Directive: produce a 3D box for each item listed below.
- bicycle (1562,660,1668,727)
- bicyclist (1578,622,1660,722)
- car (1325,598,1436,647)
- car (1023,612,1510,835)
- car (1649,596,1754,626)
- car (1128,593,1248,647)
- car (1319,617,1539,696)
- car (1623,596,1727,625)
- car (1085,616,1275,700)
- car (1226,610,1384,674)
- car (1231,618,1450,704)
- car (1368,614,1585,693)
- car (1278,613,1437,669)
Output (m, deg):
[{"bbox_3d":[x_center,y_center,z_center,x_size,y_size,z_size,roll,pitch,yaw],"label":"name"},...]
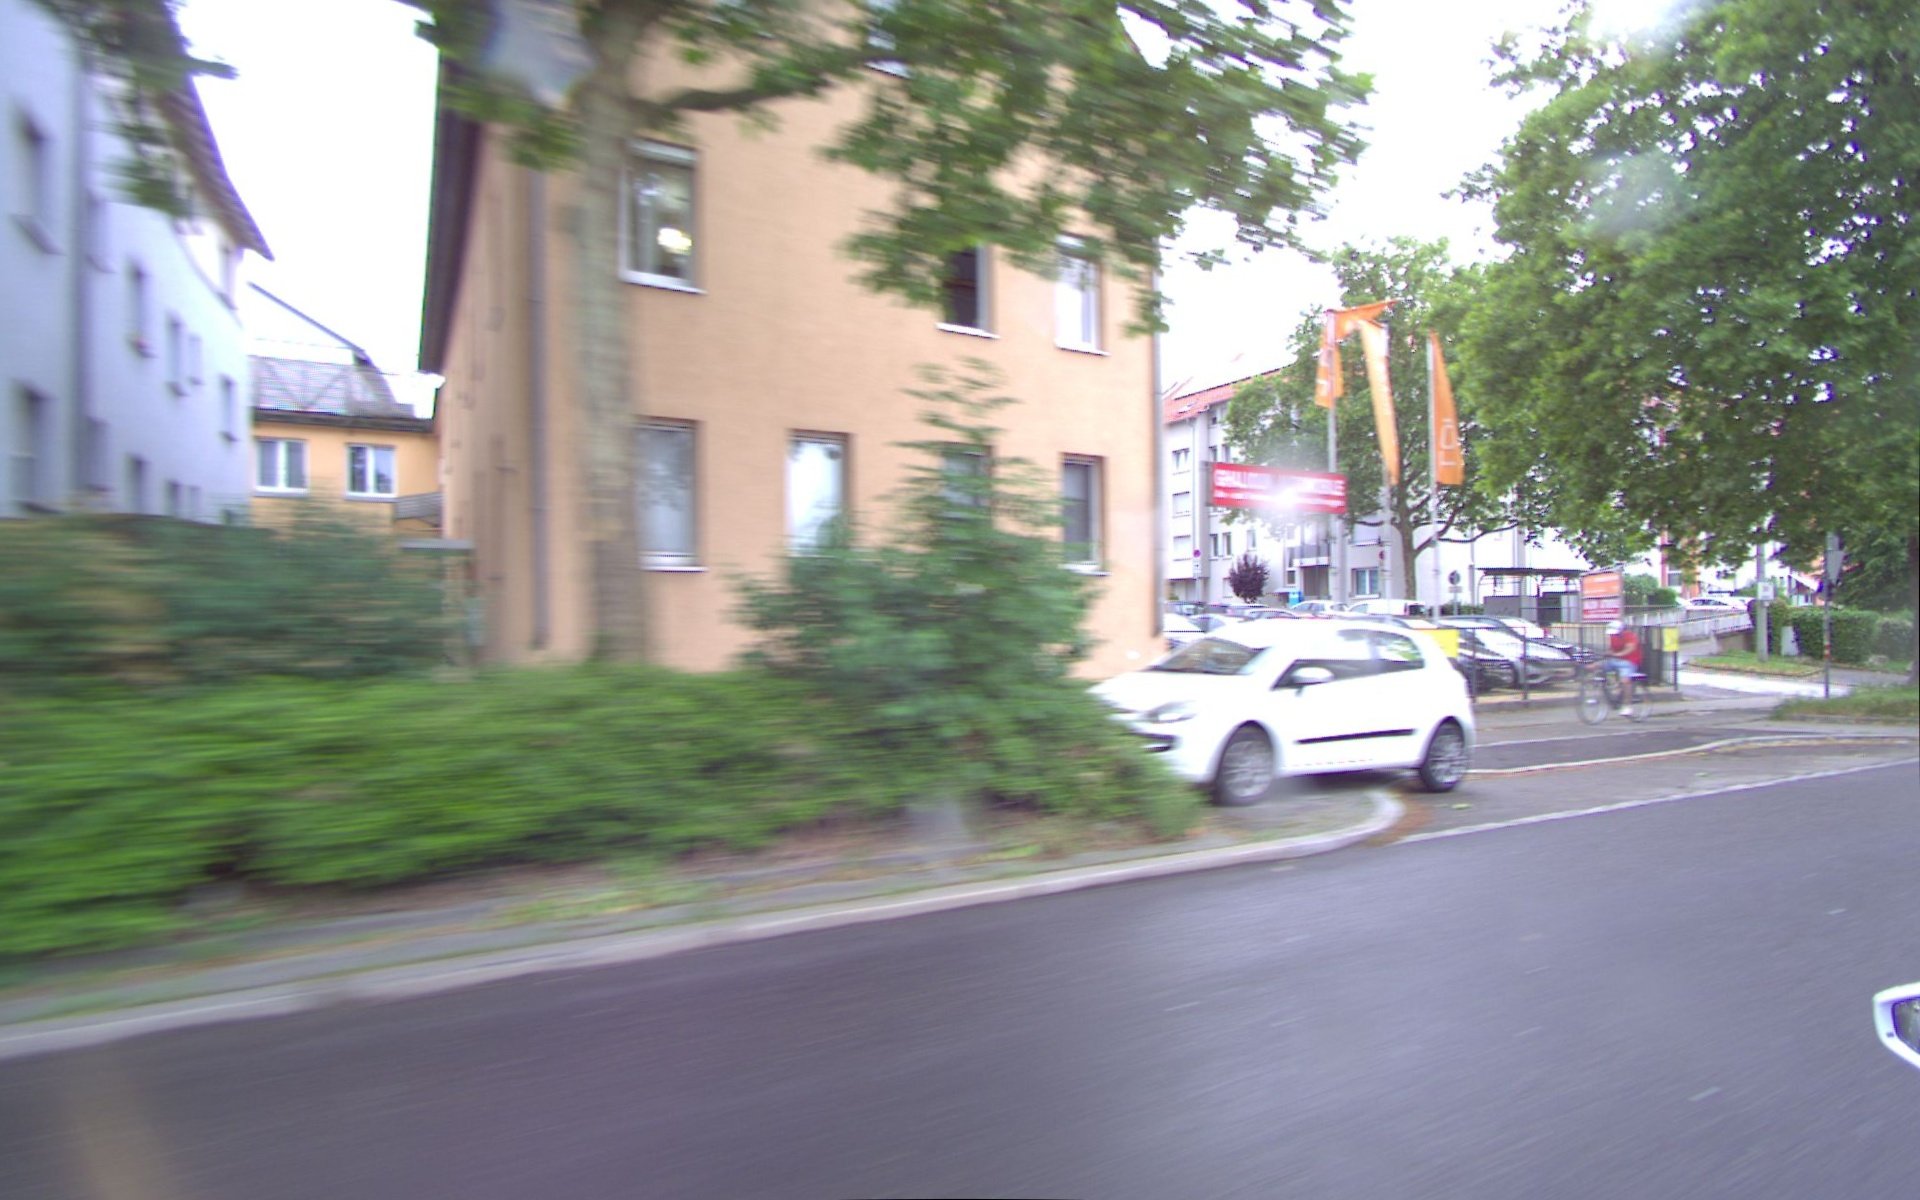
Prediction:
[{"bbox_3d":[10.775,1.508,16.502,2.241,1.009,0.551,2,0,-32],"label":"bicycle"},{"bbox_3d":[10.852,1.169,16.554,0.807,1.573,0.828,2,0,-31],"label":"bicyclist"},{"bbox_3d":[17.599,0.926,42.194,1.858,1.802,3.968,2,1,-30],"label":"car"},{"bbox_3d":[2.830,0.910,9.003,4.301,1.572,1.777,1,-1,-31],"label":"car"},{"bbox_3d":[38.222,0.558,51.872,1.825,1.433,3.972,2,-1,-27],"label":"car"},{"bbox_3d":[7.751,0.645,34.484,1.863,1.706,3.971,2,-1,-27],"label":"car"},{"bbox_3d":[10.344,1.189,22.512,1.973,1.559,4.194,1,-1,-26],"label":"car"},{"bbox_3d":[36.249,0.519,51.024,1.722,1.335,3.972,2,-1,-27],"label":"car"},{"bbox_3d":[4.576,1.155,21.498,1.862,1.484,3.971,1,1,-27],"label":"car"},{"bbox_3d":[9.893,1.176,29.072,1.977,1.675,3.967,2,-1,-31],"label":"car"},{"bbox_3d":[7.897,1.205,21.236,1.933,1.518,4.082,1,0,-27],"label":"car"},{"bbox_3d":[12.236,1.218,24.065,1.960,1.559,4.185,2,0,-31],"label":"car"},{"bbox_3d":[11.972,1.203,30.518,1.977,1.516,4.146,2,-1,-31],"label":"car"}]
